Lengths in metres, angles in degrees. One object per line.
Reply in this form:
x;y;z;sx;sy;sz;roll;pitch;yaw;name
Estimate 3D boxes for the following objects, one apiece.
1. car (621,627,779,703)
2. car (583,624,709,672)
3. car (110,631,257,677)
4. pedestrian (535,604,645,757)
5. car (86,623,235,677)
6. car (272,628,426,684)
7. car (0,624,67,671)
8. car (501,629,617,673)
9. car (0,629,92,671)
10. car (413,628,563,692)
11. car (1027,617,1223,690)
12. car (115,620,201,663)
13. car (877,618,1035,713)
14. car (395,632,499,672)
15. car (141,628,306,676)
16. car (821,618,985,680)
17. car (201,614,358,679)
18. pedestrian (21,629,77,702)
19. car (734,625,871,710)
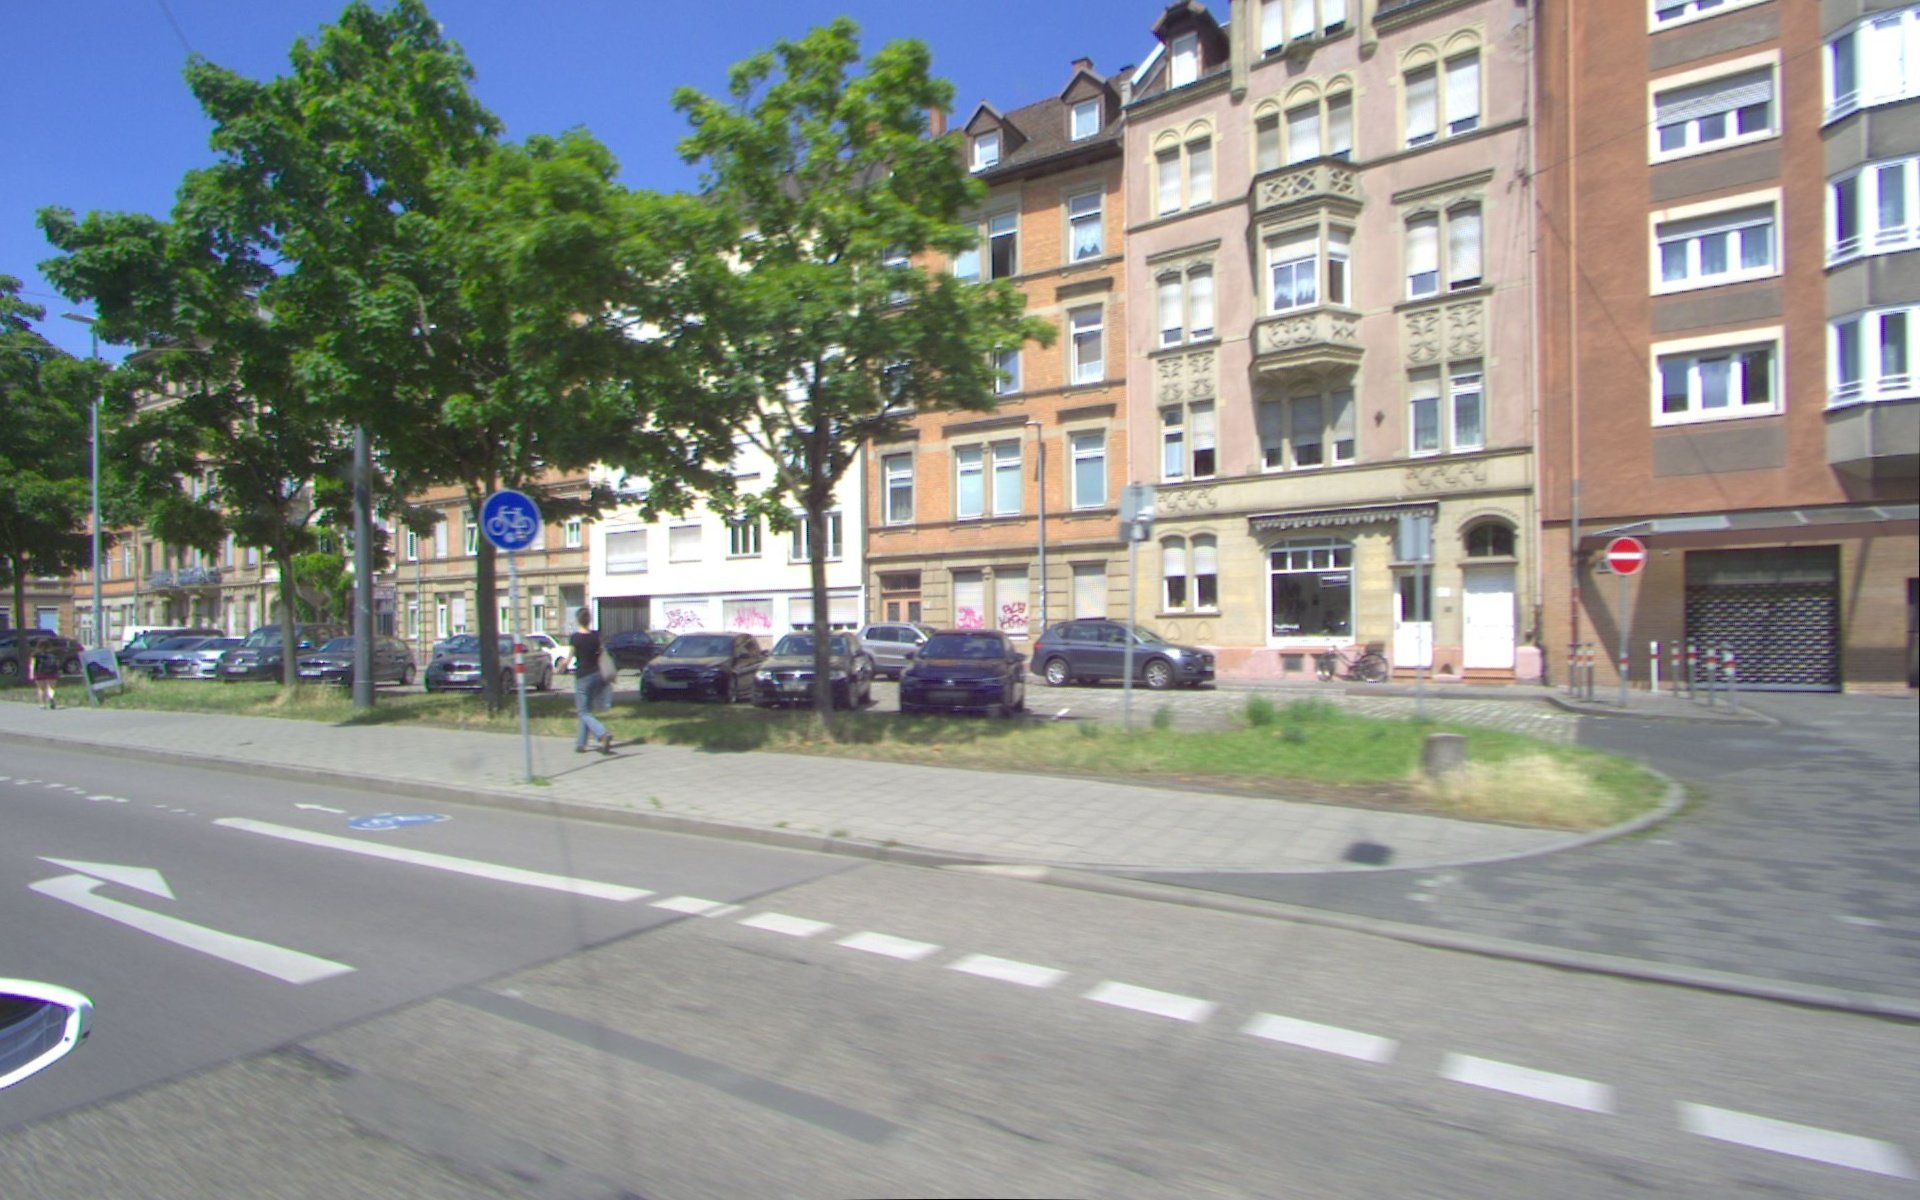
-5.159;1.304;20.450;1.923;1.397;4.003;-1;-3;5;car
-10.540;1.615;33.544;4.168;1.510;1.829;-2;-3;33;car
-25.680;1.790;33.301;1.816;1.423;4.088;0;-3;-3;car
-4.430;0.932;11.993;1.030;1.727;0.698;-1;2;32;pedestrian
-28.075;1.773;35.368;1.816;1.762;4.153;-1;-3;2;car
-16.597;1.533;27.475;1.816;1.397;4.272;0;-3;-3;car
-41.405;2.046;42.973;1.879;1.951;4.634;0;-3;2;car
-14.432;1.853;35.972;4.168;1.510;1.829;-2;-3;33;car
-38.859;2.085;41.484;1.879;1.676;4.177;-1;-3;6;car
-11.246;1.427;24.196;1.816;1.397;4.272;0;-3;-3;car
4.022;1.327;24.717;4.437;1.635;1.827;-3;-3;36;car
-43.626;2.291;54.434;5.319;2.205;2.107;-2;-3;33;car
0.073;1.061;16.617;1.924;1.371;4.001;-1;-3;10;car
-20.332;2.082;39.653;4.168;1.510;1.829;-2;-3;33;car
-23.004;1.637;31.564;1.816;1.397;4.697;0;-3;-2;car
-1.657;1.396;28.286;4.433;1.635;1.829;-2;-3;33;car
-19.833;1.380;29.439;1.816;1.762;4.369;0;-3;-3;car
-20.506;1.473;22.540;0.892;1.612;0.699;-2;-2;32;pedestrian
-2.804;1.232;18.683;1.923;1.397;4.003;0;-3;0;car
